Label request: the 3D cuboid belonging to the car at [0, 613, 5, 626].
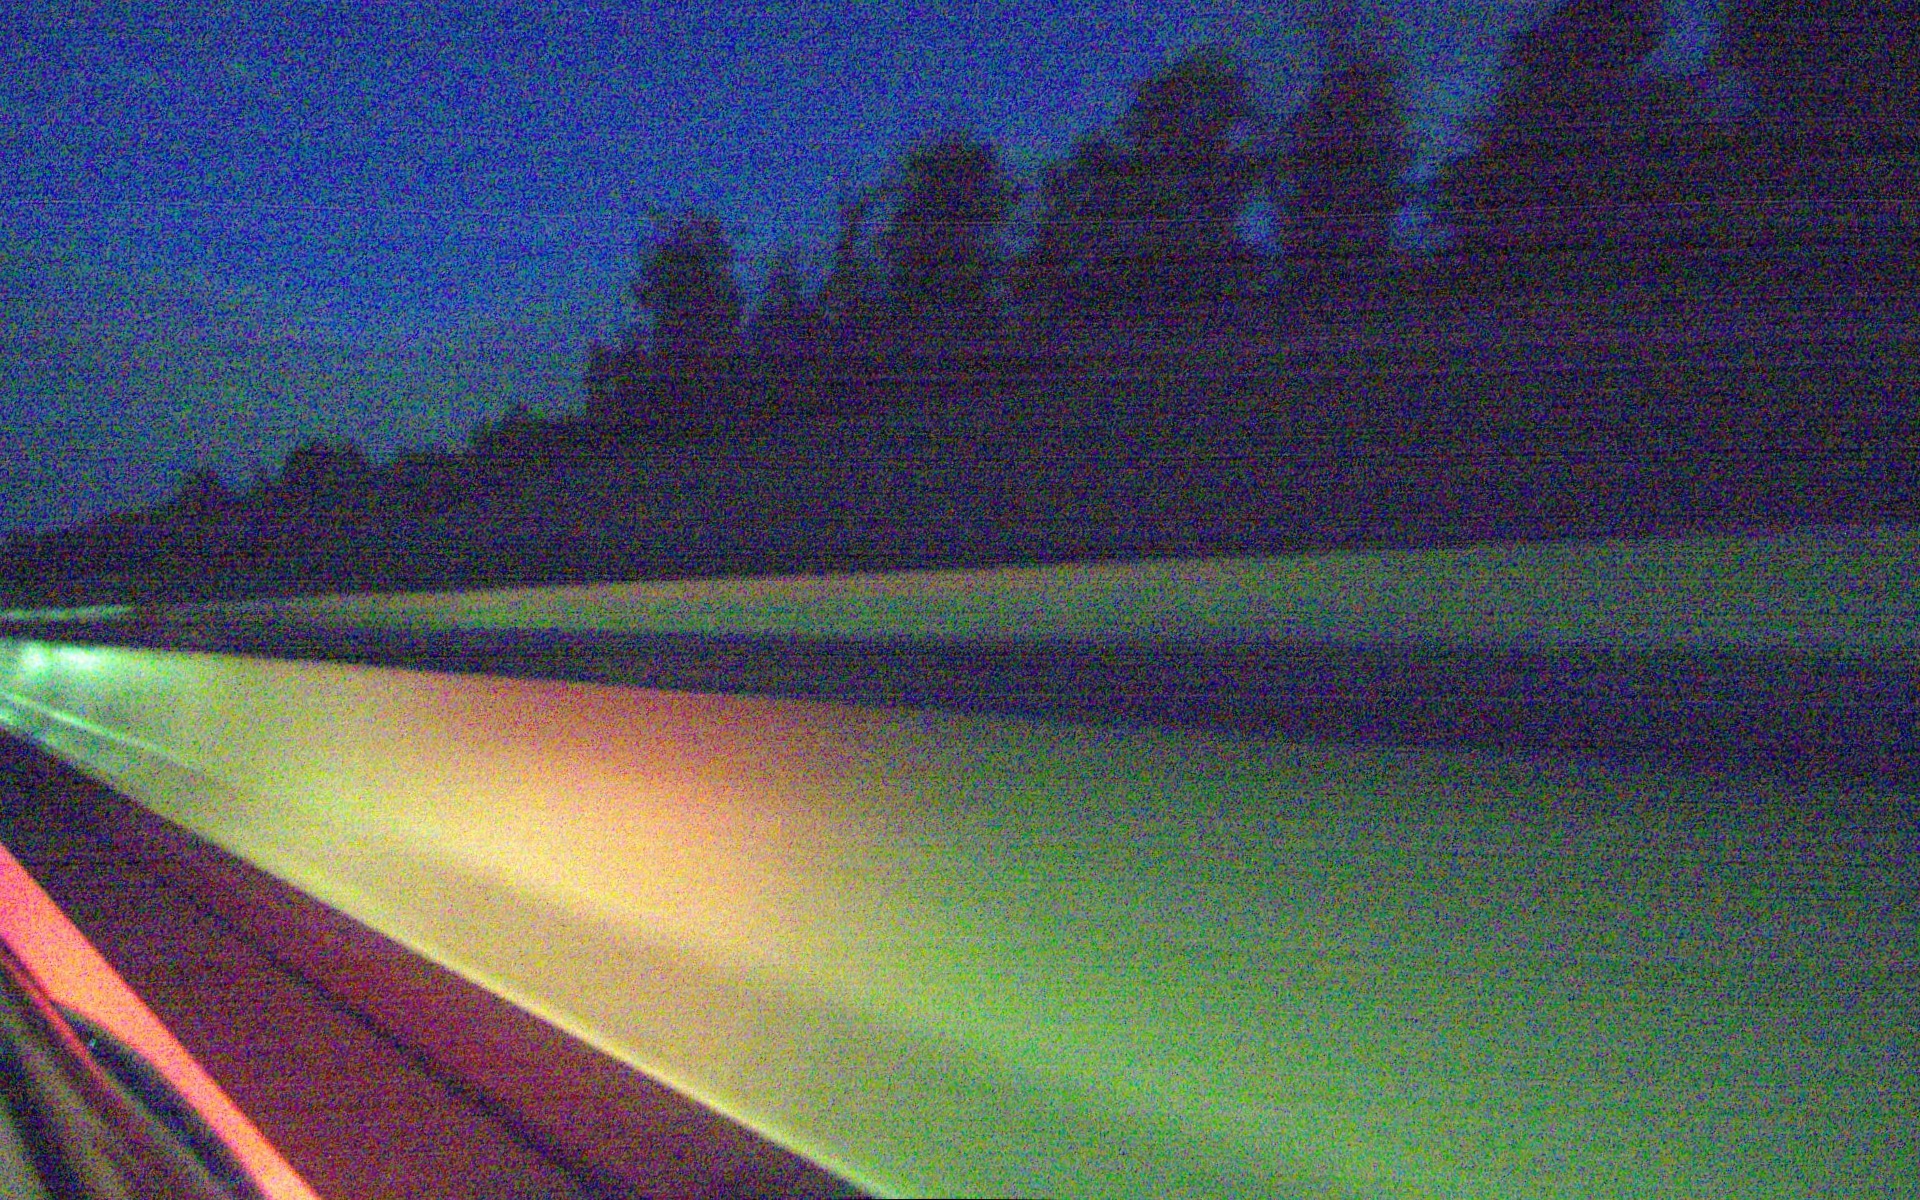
[{"bbox_3d":[-146.432,2.941,153.351,3.996,1.940,1.974,-2,-1,39],"label":"car"}]
